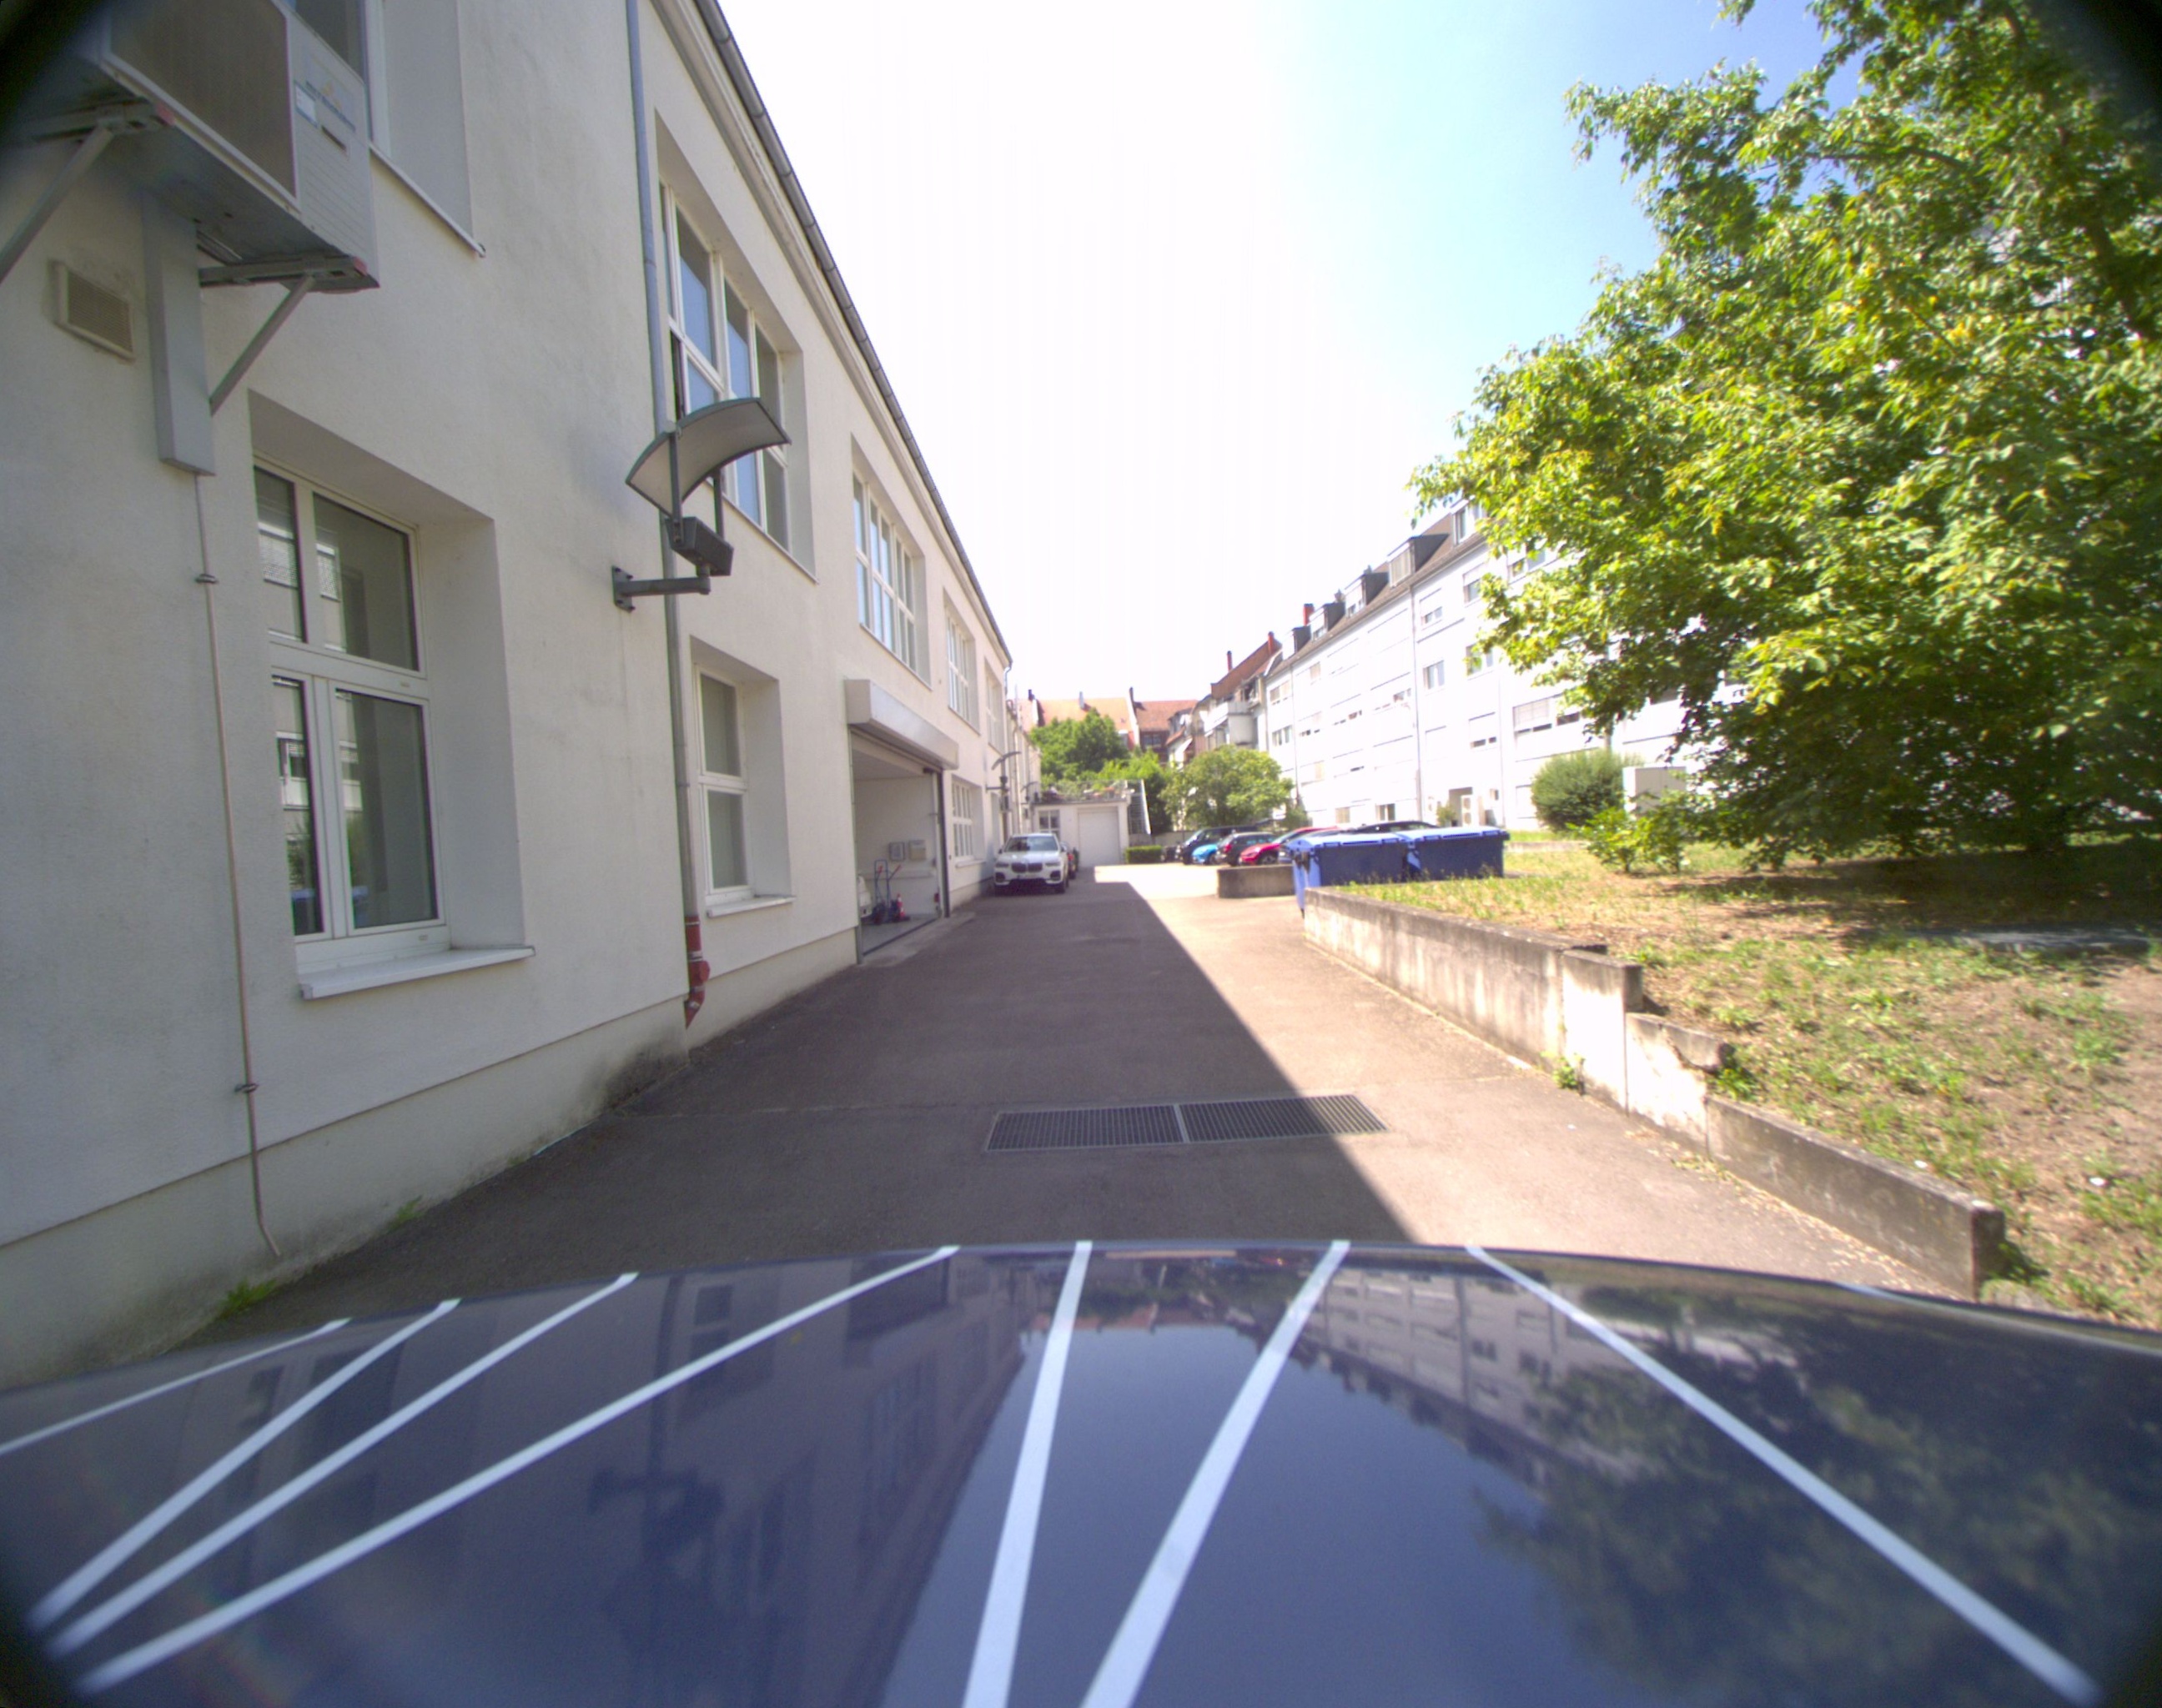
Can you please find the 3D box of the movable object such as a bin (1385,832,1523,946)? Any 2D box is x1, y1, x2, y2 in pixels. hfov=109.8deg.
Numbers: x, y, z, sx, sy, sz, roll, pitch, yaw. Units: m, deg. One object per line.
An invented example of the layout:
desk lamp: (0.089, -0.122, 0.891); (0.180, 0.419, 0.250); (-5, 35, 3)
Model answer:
movable object such as a bin: (4.916, 0.429, 10.115); (1.271, 1.381, 1.095); (-3, 2, 2)

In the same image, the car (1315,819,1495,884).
car: (9.179, -0.098, 21.692); (4.444, 1.560, 1.612); (-3, 2, -4)

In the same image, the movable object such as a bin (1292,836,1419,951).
movable object such as a bin: (3.618, 0.492, 10.125); (1.271, 1.381, 1.095); (-3, 2, 2)

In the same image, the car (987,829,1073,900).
car: (-1.383, 0.214, 22.516); (2.011, 1.793, 4.726); (-3, 2, 2)

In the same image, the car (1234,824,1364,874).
car: (7.888, -0.196, 27.735); (4.223, 1.560, 1.612); (-3, 2, -4)

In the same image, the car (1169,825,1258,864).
car: (7.008, -0.511, 40.365); (4.223, 1.813, 2.008); (-3, 2, -4)

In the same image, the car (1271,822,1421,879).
car: (8.460, -0.151, 24.416); (4.223, 1.560, 1.612); (-3, 2, -4)

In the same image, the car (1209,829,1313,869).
car: (8.094, -0.263, 34.349); (4.223, 1.560, 1.612); (-3, 2, -4)

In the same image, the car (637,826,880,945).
car: (-6.073, 0.563, 14.558); (3.836, 2.002, 1.654); (-3, 2, 5)

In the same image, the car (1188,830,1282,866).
car: (7.560, -0.316, 37.421); (4.223, 1.560, 1.612); (-3, 2, -4)

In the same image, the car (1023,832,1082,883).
car: (-1.075, 0.068, 31.313); (2.011, 1.793, 4.726); (-3, 2, 2)
